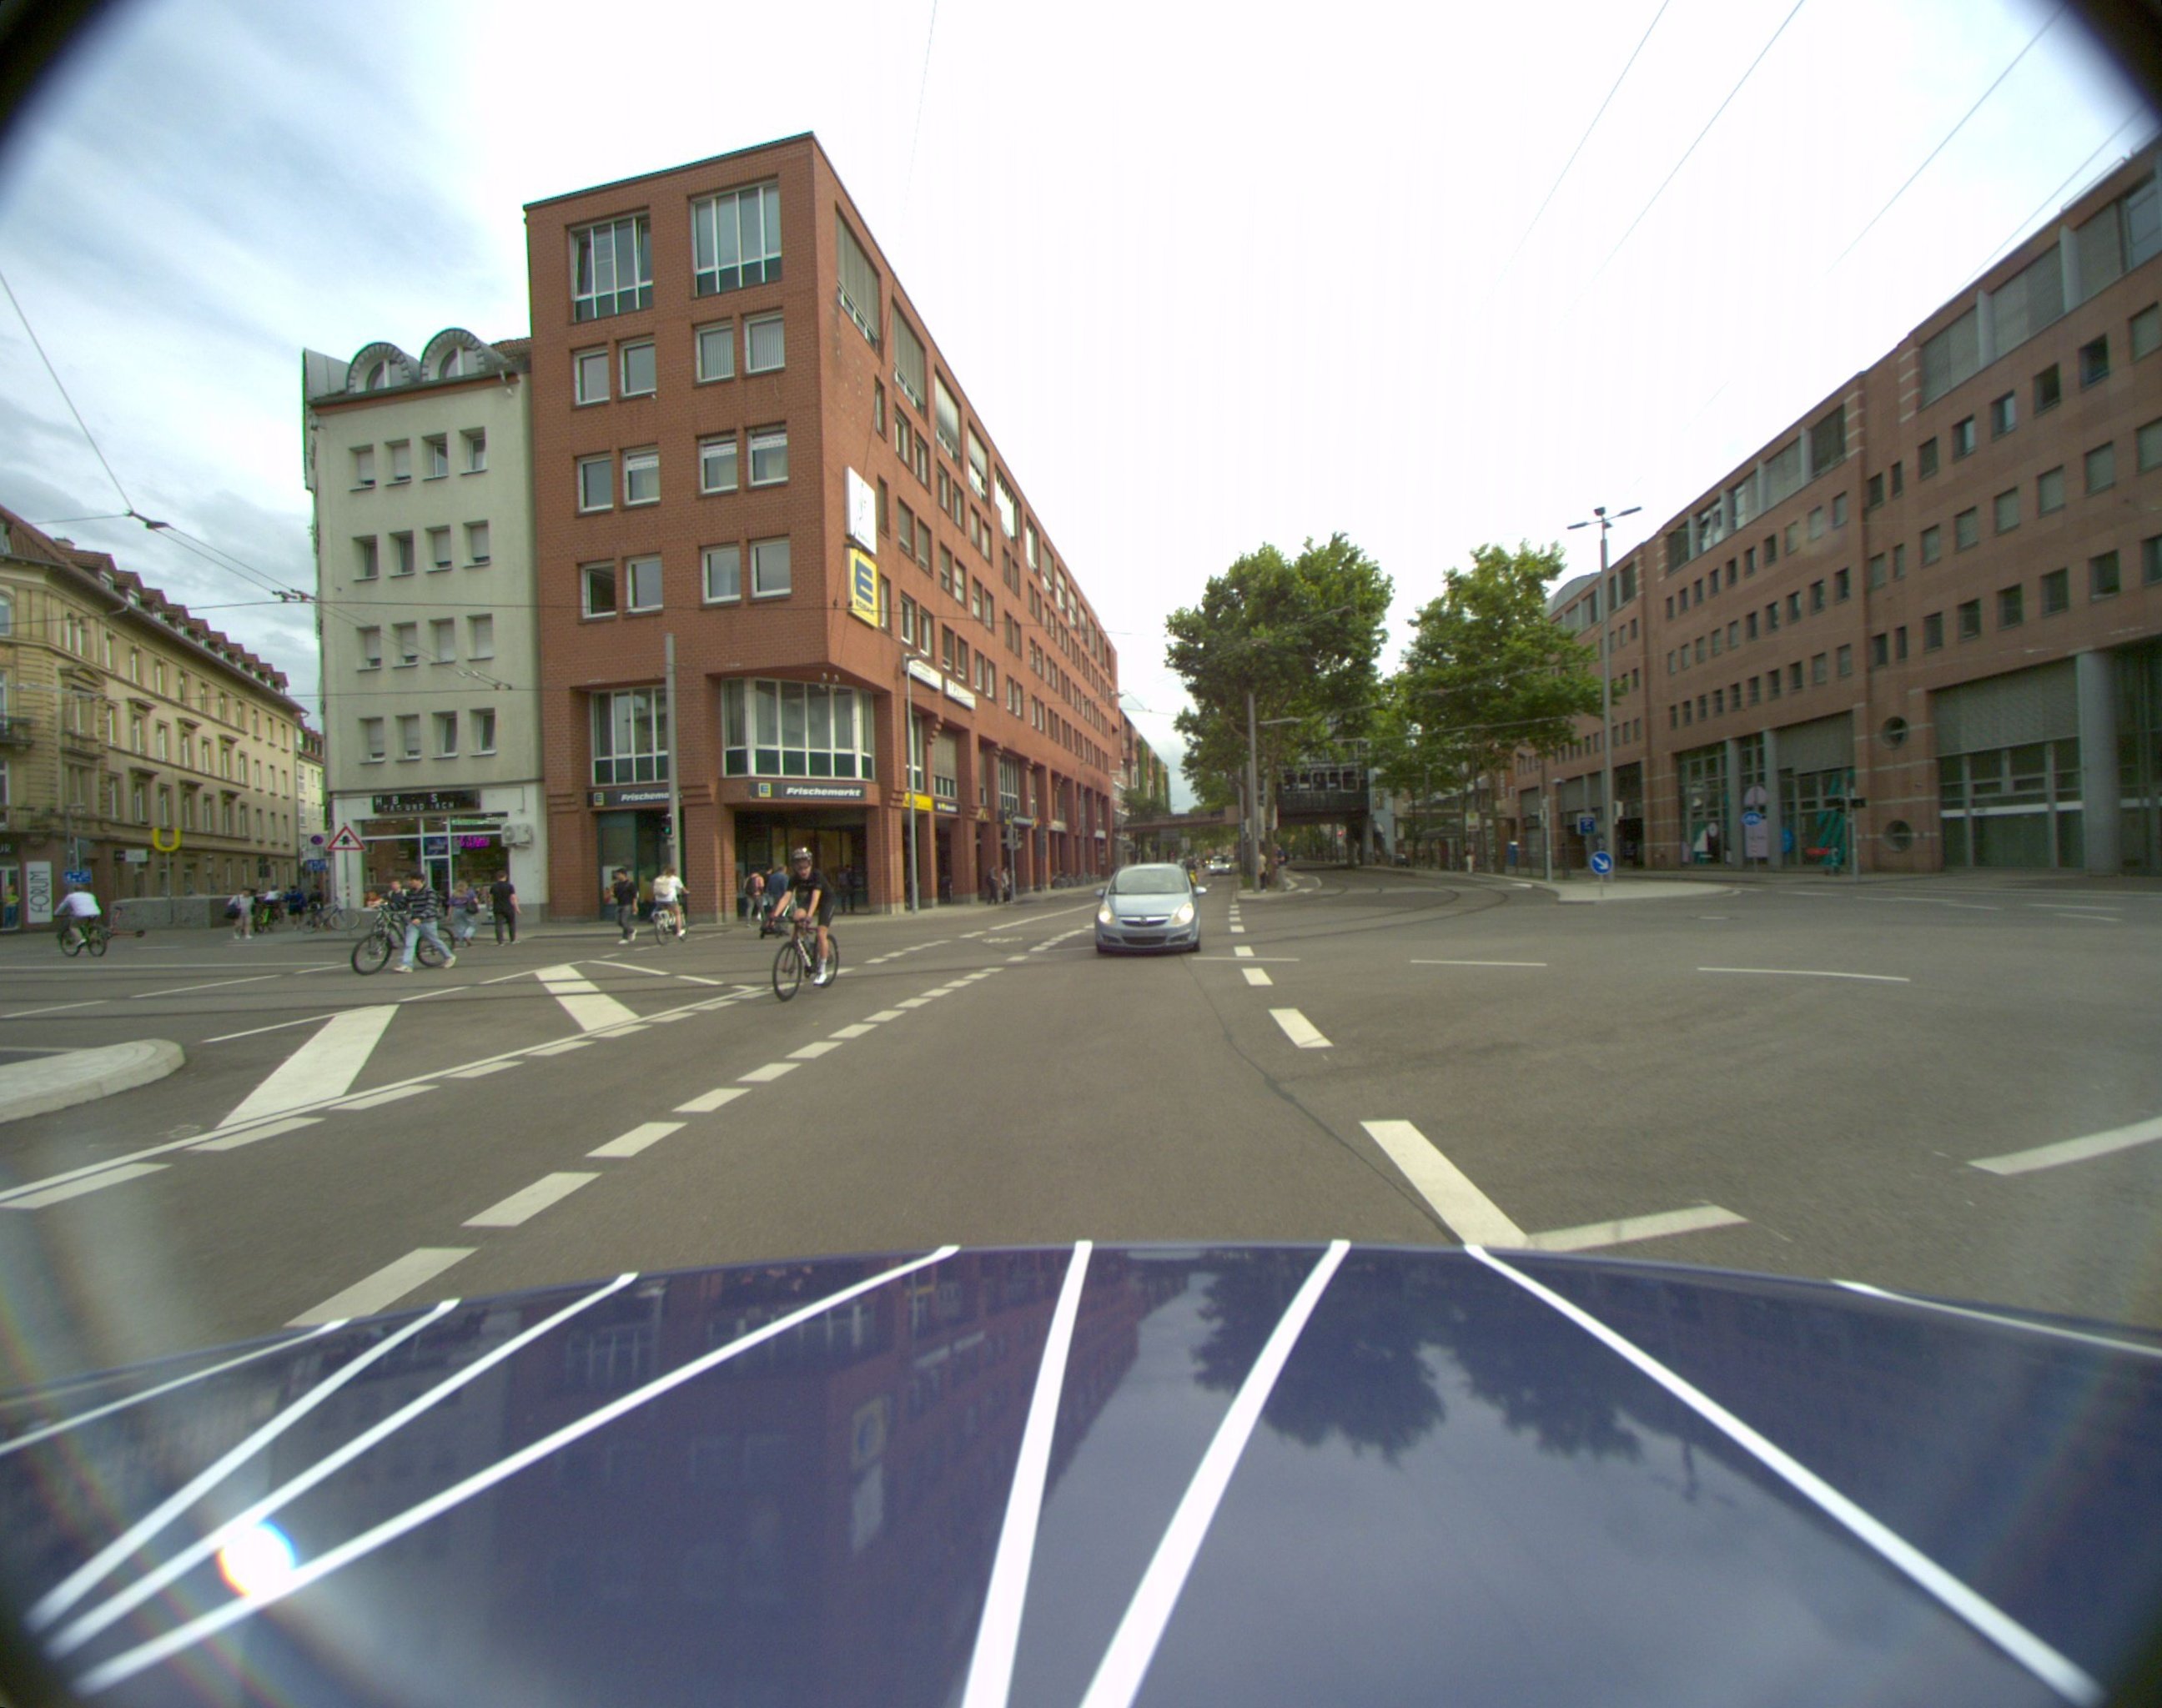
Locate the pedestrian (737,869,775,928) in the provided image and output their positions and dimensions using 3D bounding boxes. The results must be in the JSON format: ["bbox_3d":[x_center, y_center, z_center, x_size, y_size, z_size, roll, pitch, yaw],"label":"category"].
[{"bbox_3d":[-9.306,1.256,21.799,0.542,1.641,0.894,-2,-1,12],"label":"pedestrian"}]

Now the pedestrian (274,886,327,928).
[{"bbox_3d":[-35.156,2.370,34.247,1.164,1.818,1.132,-2,0,3],"label":"pedestrian"}]

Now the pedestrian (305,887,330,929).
[{"bbox_3d":[-30.960,2.183,30.802,0.543,1.626,0.584,-2,0,32],"label":"pedestrian"}]

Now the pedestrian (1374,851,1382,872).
[{"bbox_3d":[25.664,0.624,65.597,0.481,1.760,0.481,-2,0,5],"label":"pedestrian"}]

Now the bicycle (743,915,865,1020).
[{"bbox_3d":[-3.235,1.299,9.054,0.488,0.994,1.749,-2,0,12],"label":"bicycle"}]

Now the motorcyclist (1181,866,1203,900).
[{"bbox_3d":[5.110,1.325,35.118,0.871,1.507,1.044,-2,0,2],"label":"motorcyclist"}]

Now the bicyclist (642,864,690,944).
[{"bbox_3d":[-9.189,1.093,16.851,0.642,1.699,0.862,-2,0,-9],"label":"bicyclist"}]

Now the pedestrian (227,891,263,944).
[{"bbox_3d":[-26.879,2.027,24.438,0.791,1.617,0.719,-2,-1,44],"label":"pedestrian"}]

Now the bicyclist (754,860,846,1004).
[{"bbox_3d":[-3.286,0.884,8.952,0.613,1.594,0.848,-2,0,11],"label":"bicyclist"}]

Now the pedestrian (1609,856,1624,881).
[{"bbox_3d":[34.401,0.918,48.799,0.528,1.564,0.601,-2,0,12],"label":"pedestrian"}]

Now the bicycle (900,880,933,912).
[{"bbox_3d":[-6.082,1.543,28.229,0.566,1.085,1.699,0,1,11],"label":"bicycle"}]

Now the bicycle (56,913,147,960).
[{"bbox_3d":[-24.264,2.030,18.820,1.918,1.080,0.392,-2,0,5],"label":"bicycle"}]

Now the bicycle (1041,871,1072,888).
[{"bbox_3d":[-1.518,1.607,47.631,1.857,1.034,0.535,-1,0,12],"label":"bicycle"}]

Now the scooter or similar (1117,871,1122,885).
[{"bbox_3d":[3.576,2.179,69.893,0.272,1.250,0.922,-2,0,13],"label":"scooter or similar"}]

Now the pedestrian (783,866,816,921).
[{"bbox_3d":[-8.784,1.229,23.706,0.648,1.679,0.651,-2,1,12],"label":"pedestrian"}]

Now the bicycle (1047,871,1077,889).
[{"bbox_3d":[-1.268,1.708,49.944,1.857,1.105,0.535,-1,0,12],"label":"bicycle"}]

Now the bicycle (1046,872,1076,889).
[{"bbox_3d":[-1.275,1.721,48.897,1.857,1.034,0.535,-1,0,12],"label":"bicycle"}]

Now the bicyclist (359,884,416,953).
[{"bbox_3d":[-16.535,1.510,18.145,0.747,1.549,0.944,-2,0,-27],"label":"bicyclist"}]

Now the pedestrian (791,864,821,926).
[{"bbox_3d":[-8.046,1.194,22.246,0.542,1.786,0.562,-2,-1,12],"label":"pedestrian"}]

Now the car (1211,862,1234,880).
[{"bbox_3d":[13.886,1.622,74.393,1.955,1.592,4.004,-2,0,13],"label":"car"}]

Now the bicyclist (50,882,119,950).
[{"bbox_3d":[-24.537,1.520,18.717,0.861,1.593,0.643,-2,0,5],"label":"bicyclist"}]

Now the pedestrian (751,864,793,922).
[{"bbox_3d":[-9.522,1.184,23.427,0.648,1.704,1.057,-2,0,12],"label":"pedestrian"}]

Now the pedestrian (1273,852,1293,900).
[{"bbox_3d":[7.949,0.869,29.924,0.692,1.864,0.807,-2,0,13],"label":"pedestrian"}]

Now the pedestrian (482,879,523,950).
[{"bbox_3d":[-13.944,1.446,18.328,0.708,1.638,0.719,-2,-1,-40],"label":"pedestrian"}]

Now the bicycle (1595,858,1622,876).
[{"bbox_3d":[32.883,0.793,47.365,0.547,1.111,1.590,-2,0,0],"label":"bicycle"}]

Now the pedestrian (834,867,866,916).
[{"bbox_3d":[-7.821,1.251,25.738,0.619,1.591,0.923,-2,0,12],"label":"pedestrian"}]

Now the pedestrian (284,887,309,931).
[{"bbox_3d":[-31.196,2.188,30.213,0.518,1.712,0.542,-2,0,32],"label":"pedestrian"}]

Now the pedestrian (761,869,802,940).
[{"bbox_3d":[-7.256,1.217,18.426,0.639,1.677,0.601,-2,-1,12],"label":"pedestrian"}]

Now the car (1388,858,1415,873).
[{"bbox_3d":[34.746,1.235,82.420,1.866,1.464,4.300,-2,-1,11],"label":"car"}]

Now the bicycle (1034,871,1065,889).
[{"bbox_3d":[-1.944,1.618,46.983,1.857,1.034,0.508,-2,0,12],"label":"bicycle"}]

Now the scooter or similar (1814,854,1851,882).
[{"bbox_3d":[30.802,0.569,31.160,0.520,1.126,1.113,-2,0,13],"label":"scooter or similar"}]

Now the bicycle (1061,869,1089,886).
[{"bbox_3d":[-0.402,1.638,52.318,1.857,1.105,0.535,-1,0,12],"label":"bicycle"}]

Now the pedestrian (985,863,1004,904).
[{"bbox_3d":[-3.690,1.248,32.408,0.646,1.686,0.698,0,1,10],"label":"pedestrian"}]

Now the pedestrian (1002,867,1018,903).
[{"bbox_3d":[-3.201,1.388,34.340,0.406,1.622,0.733,0,1,20],"label":"pedestrian"}]

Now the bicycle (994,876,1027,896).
[{"bbox_3d":[-3.983,1.801,43.019,1.868,1.077,0.484,0,1,-38],"label":"bicycle"}]

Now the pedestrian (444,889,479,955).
[{"bbox_3d":[-14.605,1.582,17.917,0.594,1.502,0.628,-2,-1,-40],"label":"pedestrian"}]

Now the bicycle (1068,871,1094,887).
[{"bbox_3d":[0.003,1.808,55.816,1.857,1.134,0.535,-1,0,12],"label":"bicycle"}]

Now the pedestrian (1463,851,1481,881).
[{"bbox_3d":[20.509,0.600,39.835,0.658,1.529,0.559,-2,2,8],"label":"pedestrian"}]

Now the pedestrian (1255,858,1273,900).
[{"bbox_3d":[7.758,1.057,32.137,0.534,1.780,0.578,-2,0,32],"label":"pedestrian"}]

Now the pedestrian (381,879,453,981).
[{"bbox_3d":[-11.387,1.286,13.048,0.520,1.676,0.727,-2,0,13],"label":"pedestrian"}]

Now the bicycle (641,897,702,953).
[{"bbox_3d":[-9.191,1.560,17.126,0.391,1.115,2.076,-2,-2,-5],"label":"bicycle"}]

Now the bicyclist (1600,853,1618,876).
[{"bbox_3d":[32.878,0.649,47.337,0.552,1.373,0.738,-2,0,0],"label":"bicyclist"}]

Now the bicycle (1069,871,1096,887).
[{"bbox_3d":[0.115,1.831,56.532,1.857,1.134,0.535,-1,0,12],"label":"bicycle"}]

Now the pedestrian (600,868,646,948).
[{"bbox_3d":[-10.663,1.237,17.701,0.568,1.813,0.696,-2,-1,11],"label":"pedestrian"}]

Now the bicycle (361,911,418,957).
[{"bbox_3d":[-16.578,1.894,18.257,0.544,0.945,1.803,-2,-1,-27],"label":"bicycle"}]

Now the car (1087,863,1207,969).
[{"bbox_3d":[1.227,0.971,13.491,1.722,1.394,4.001,-4,0,7],"label":"car"}]

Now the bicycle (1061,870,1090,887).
[{"bbox_3d":[-0.398,1.693,51.645,1.857,1.105,0.535,-1,0,12],"label":"bicycle"}]

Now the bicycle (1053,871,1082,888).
[{"bbox_3d":[-0.883,1.699,50.893,1.857,1.105,0.535,-1,0,12],"label":"bicycle"}]

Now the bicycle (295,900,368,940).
[{"bbox_3d":[-23.930,2.096,24.257,1.805,1.197,0.543,-2,0,2],"label":"bicycle"}]

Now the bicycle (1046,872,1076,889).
[{"bbox_3d":[-1.270,1.704,48.197,1.857,1.034,0.535,-1,0,12],"label":"bicycle"}]

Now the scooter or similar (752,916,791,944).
[{"bbox_3d":[-7.242,1.783,17.804,0.508,0.570,0.816,-2,0,5],"label":"scooter or similar"}]

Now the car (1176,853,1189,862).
[{"bbox_3d":[18.145,0.642,135.388,1.955,1.592,4.004,-2,0,13],"label":"car"}]

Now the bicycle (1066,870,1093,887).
[{"bbox_3d":[-0.131,1.774,55.076,1.857,1.134,0.535,-1,0,12],"label":"bicycle"}]

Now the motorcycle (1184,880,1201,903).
[{"bbox_3d":[5.129,1.736,35.097,0.570,0.962,2.015,-2,-1,3],"label":"motorcycle"}]

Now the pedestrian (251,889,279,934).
[{"bbox_3d":[-31.756,2.228,29.572,0.518,1.712,0.593,-2,0,32],"label":"pedestrian"}]

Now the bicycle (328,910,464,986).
[{"bbox_3d":[-11.828,1.597,13.206,0.397,1.104,1.832,-2,0,13],"label":"bicycle"}]

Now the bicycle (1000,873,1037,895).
[{"bbox_3d":[-3.223,1.560,39.383,1.868,1.077,0.628,0,1,-38],"label":"bicycle"}]
